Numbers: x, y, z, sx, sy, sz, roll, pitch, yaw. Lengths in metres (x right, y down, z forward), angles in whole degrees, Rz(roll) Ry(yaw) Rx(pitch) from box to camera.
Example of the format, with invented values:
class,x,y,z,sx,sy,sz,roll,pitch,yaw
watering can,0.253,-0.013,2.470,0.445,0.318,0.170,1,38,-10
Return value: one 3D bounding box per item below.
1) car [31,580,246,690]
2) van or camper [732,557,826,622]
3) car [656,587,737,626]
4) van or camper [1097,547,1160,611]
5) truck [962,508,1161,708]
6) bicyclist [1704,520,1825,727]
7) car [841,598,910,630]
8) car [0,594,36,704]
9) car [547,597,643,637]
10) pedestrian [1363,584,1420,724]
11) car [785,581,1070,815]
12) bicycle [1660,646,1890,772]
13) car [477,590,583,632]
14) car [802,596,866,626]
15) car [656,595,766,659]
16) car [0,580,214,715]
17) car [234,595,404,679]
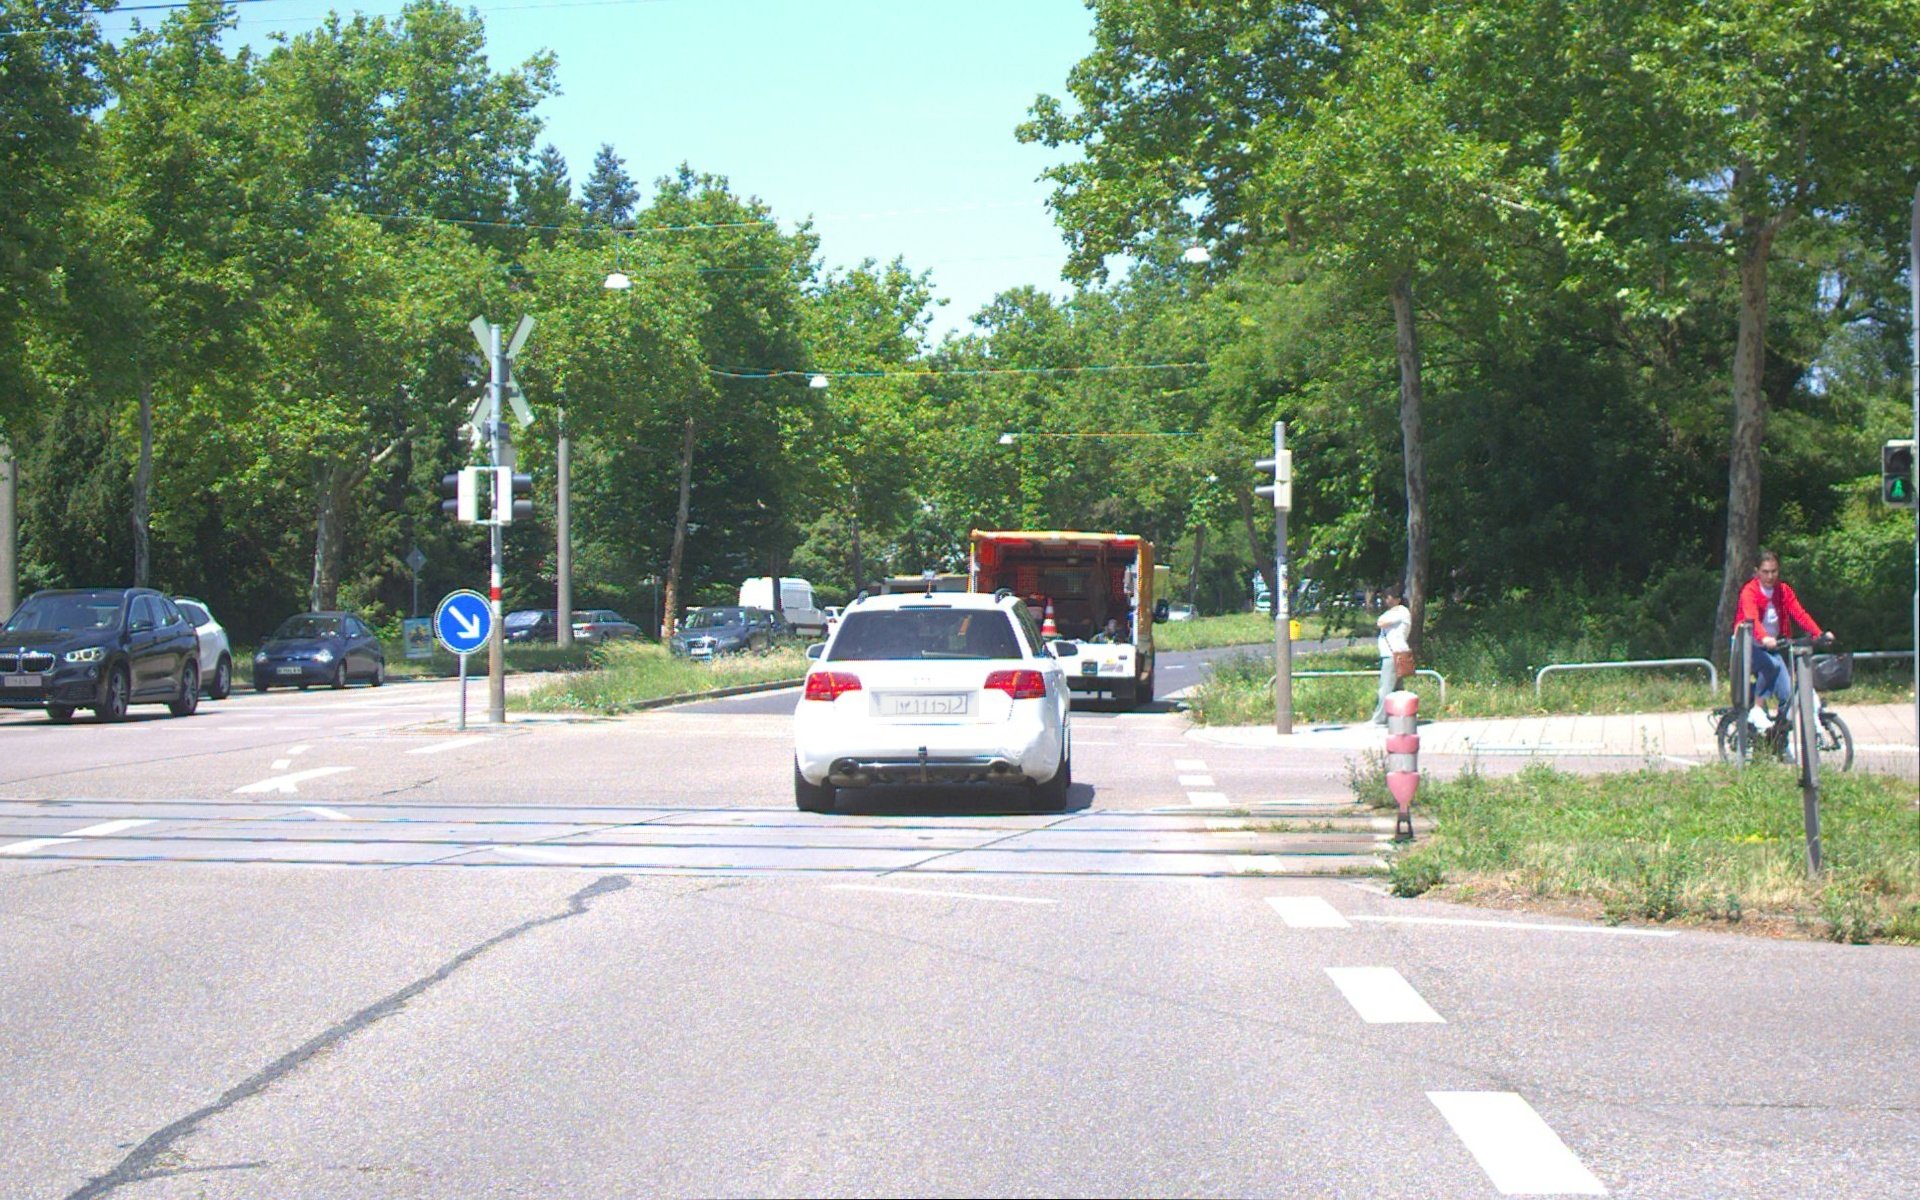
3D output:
class,x,y,z,sx,sy,sz,roll,pitch,yaw
car,-12.660,0.503,53.254,1.788,1.609,4.403,0,1,7
van or camper,-7.349,-0.447,140.192,2.184,2.579,5.305,0,0,16
car,-10.050,0.250,131.433,1.883,1.469,3.997,0,0,15
van or camper,8.856,-1.086,180.682,2.662,3.320,5.498,0,0,10
truck,1.538,0.039,48.627,2.511,2.551,7.602,1,1,4
bicyclist,6.132,0.173,26.209,0.577,1.551,0.673,0,0,-32
car,-3.742,0.628,152.283,1.830,1.386,3.943,0,0,19
car,-13.784,0.669,44.349,1.950,1.435,4.745,0,1,7
car,-12.896,0.586,121.713,1.883,1.371,3.996,0,0,19
pedestrian,4.608,0.566,36.712,0.553,1.479,0.629,0,0,12
car,-0.232,0.597,23.128,1.762,1.440,3.616,0,0,-1
bicycle,6.178,0.811,26.143,0.587,0.892,1.811,-1,0,-32
car,-14.539,0.371,116.385,1.883,1.388,3.995,0,0,22
car,-5.359,0.456,146.534,1.694,1.279,3.800,0,0,14
car,-5.727,0.617,79.462,1.736,1.390,4.177,-2,0,7
car,-10.560,0.539,41.204,1.909,1.533,4.297,0,0,6
car,-11.532,0.649,62.097,1.721,1.450,3.867,0,0,11
